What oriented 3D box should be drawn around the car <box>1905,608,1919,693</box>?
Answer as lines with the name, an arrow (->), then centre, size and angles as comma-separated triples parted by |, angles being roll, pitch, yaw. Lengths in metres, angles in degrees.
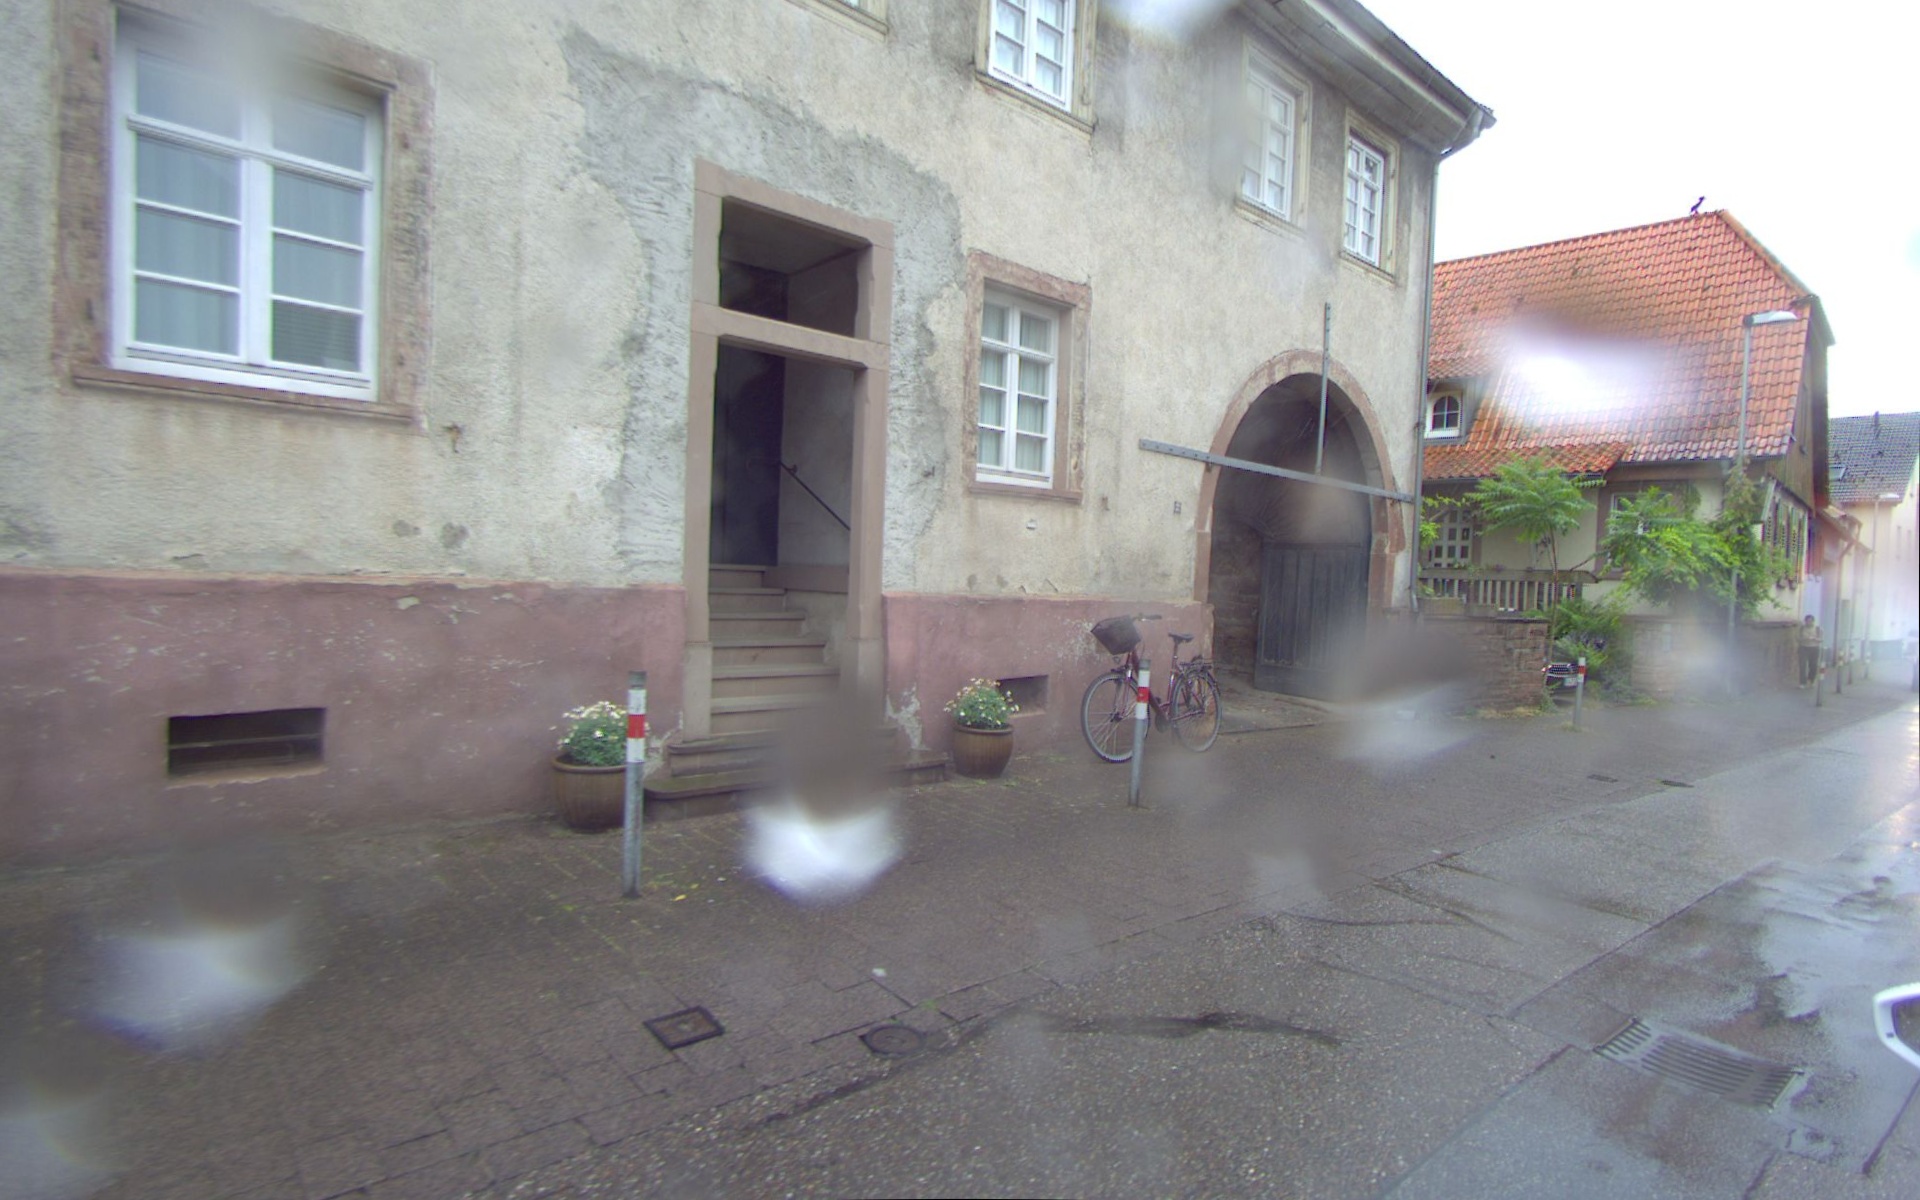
car -> 24.811, 1.305, 24.754 | 4.692, 1.993, 1.874 | 2, 2, -44

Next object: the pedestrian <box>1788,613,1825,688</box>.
pedestrian -> 18.162, 1.074, 21.552 | 0.560, 1.551, 0.566 | 2, 0, 40

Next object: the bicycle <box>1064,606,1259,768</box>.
bicycle -> 1.705, 0.693, 8.334 | 1.820, 1.196, 0.479 | 3, 2, -40

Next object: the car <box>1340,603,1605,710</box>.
car -> 8.296, 0.845, 16.478 | 1.581, 1.394, 3.499 | 2, 1, -38
